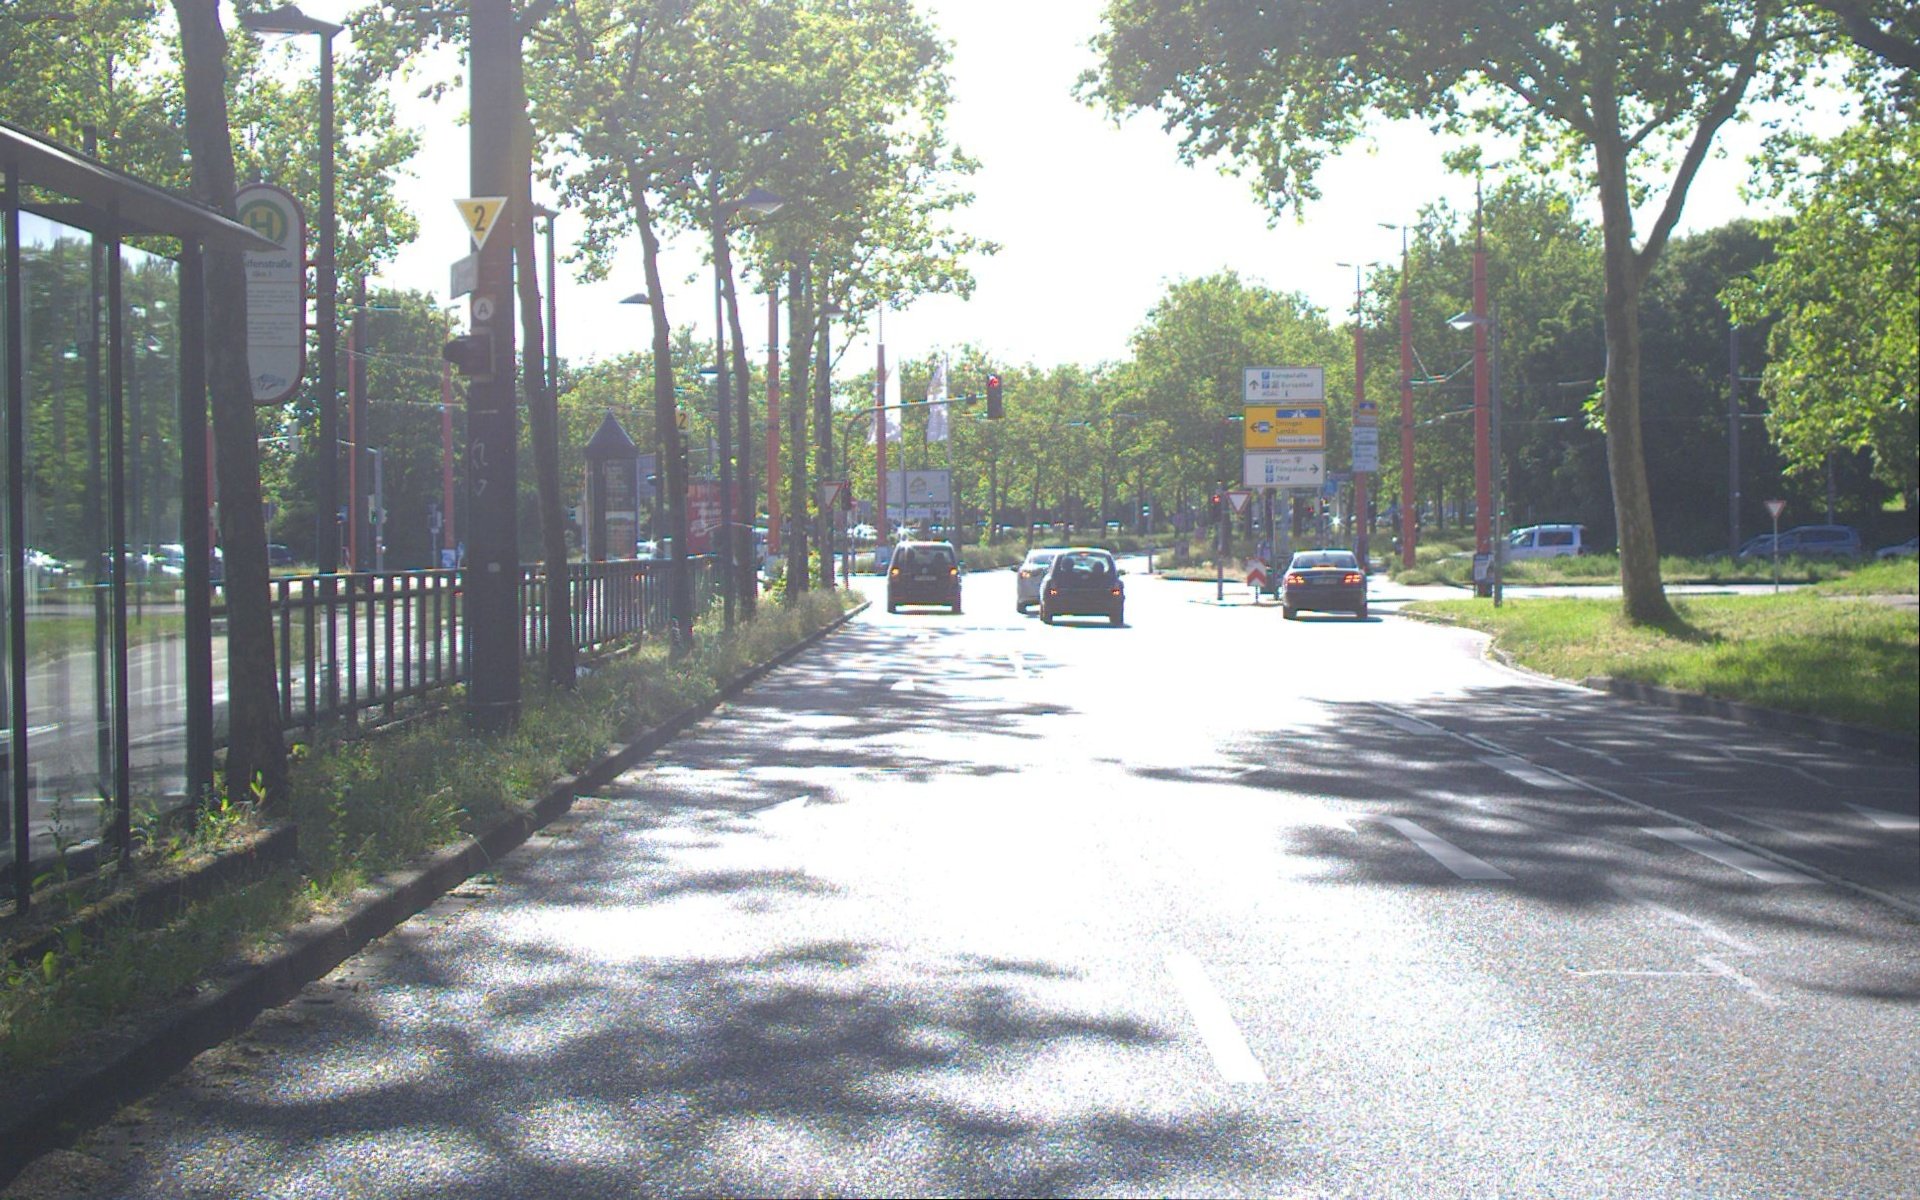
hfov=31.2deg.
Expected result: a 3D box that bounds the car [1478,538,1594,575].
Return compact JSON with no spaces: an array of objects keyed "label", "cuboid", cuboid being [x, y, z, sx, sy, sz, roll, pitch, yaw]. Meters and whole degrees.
[{"label":"car","cuboid":[21.703,-1.647,129.580,3.992,1.333,1.726,1,1,26]}]

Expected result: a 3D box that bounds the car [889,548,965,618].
[{"label":"car","cuboid":[-0.782,-0.407,80.080,1.710,1.598,3.350,0,1,-1]}]

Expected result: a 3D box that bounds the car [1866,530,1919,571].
[{"label":"car","cuboid":[35.462,-1.792,126.110,3.993,1.490,1.858,1,1,26]}]

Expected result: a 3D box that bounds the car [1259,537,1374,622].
[{"label":"car","cuboid":[7.784,-0.469,75.514,1.981,1.786,4.614,0,1,-1]}]

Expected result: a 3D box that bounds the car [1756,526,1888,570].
[{"label":"car","cuboid":[31.287,-1.895,124.827,4.357,1.553,1.870,1,1,25]}]

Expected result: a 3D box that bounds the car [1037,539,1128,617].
[{"label":"car","cuboid":[2.478,-0.466,70.395,1.639,1.489,3.504,1,2,-1]}]

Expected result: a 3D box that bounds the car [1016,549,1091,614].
[{"label":"car","cuboid":[2.174,-0.446,80.668,1.678,1.470,4.131,1,1,1]}]
